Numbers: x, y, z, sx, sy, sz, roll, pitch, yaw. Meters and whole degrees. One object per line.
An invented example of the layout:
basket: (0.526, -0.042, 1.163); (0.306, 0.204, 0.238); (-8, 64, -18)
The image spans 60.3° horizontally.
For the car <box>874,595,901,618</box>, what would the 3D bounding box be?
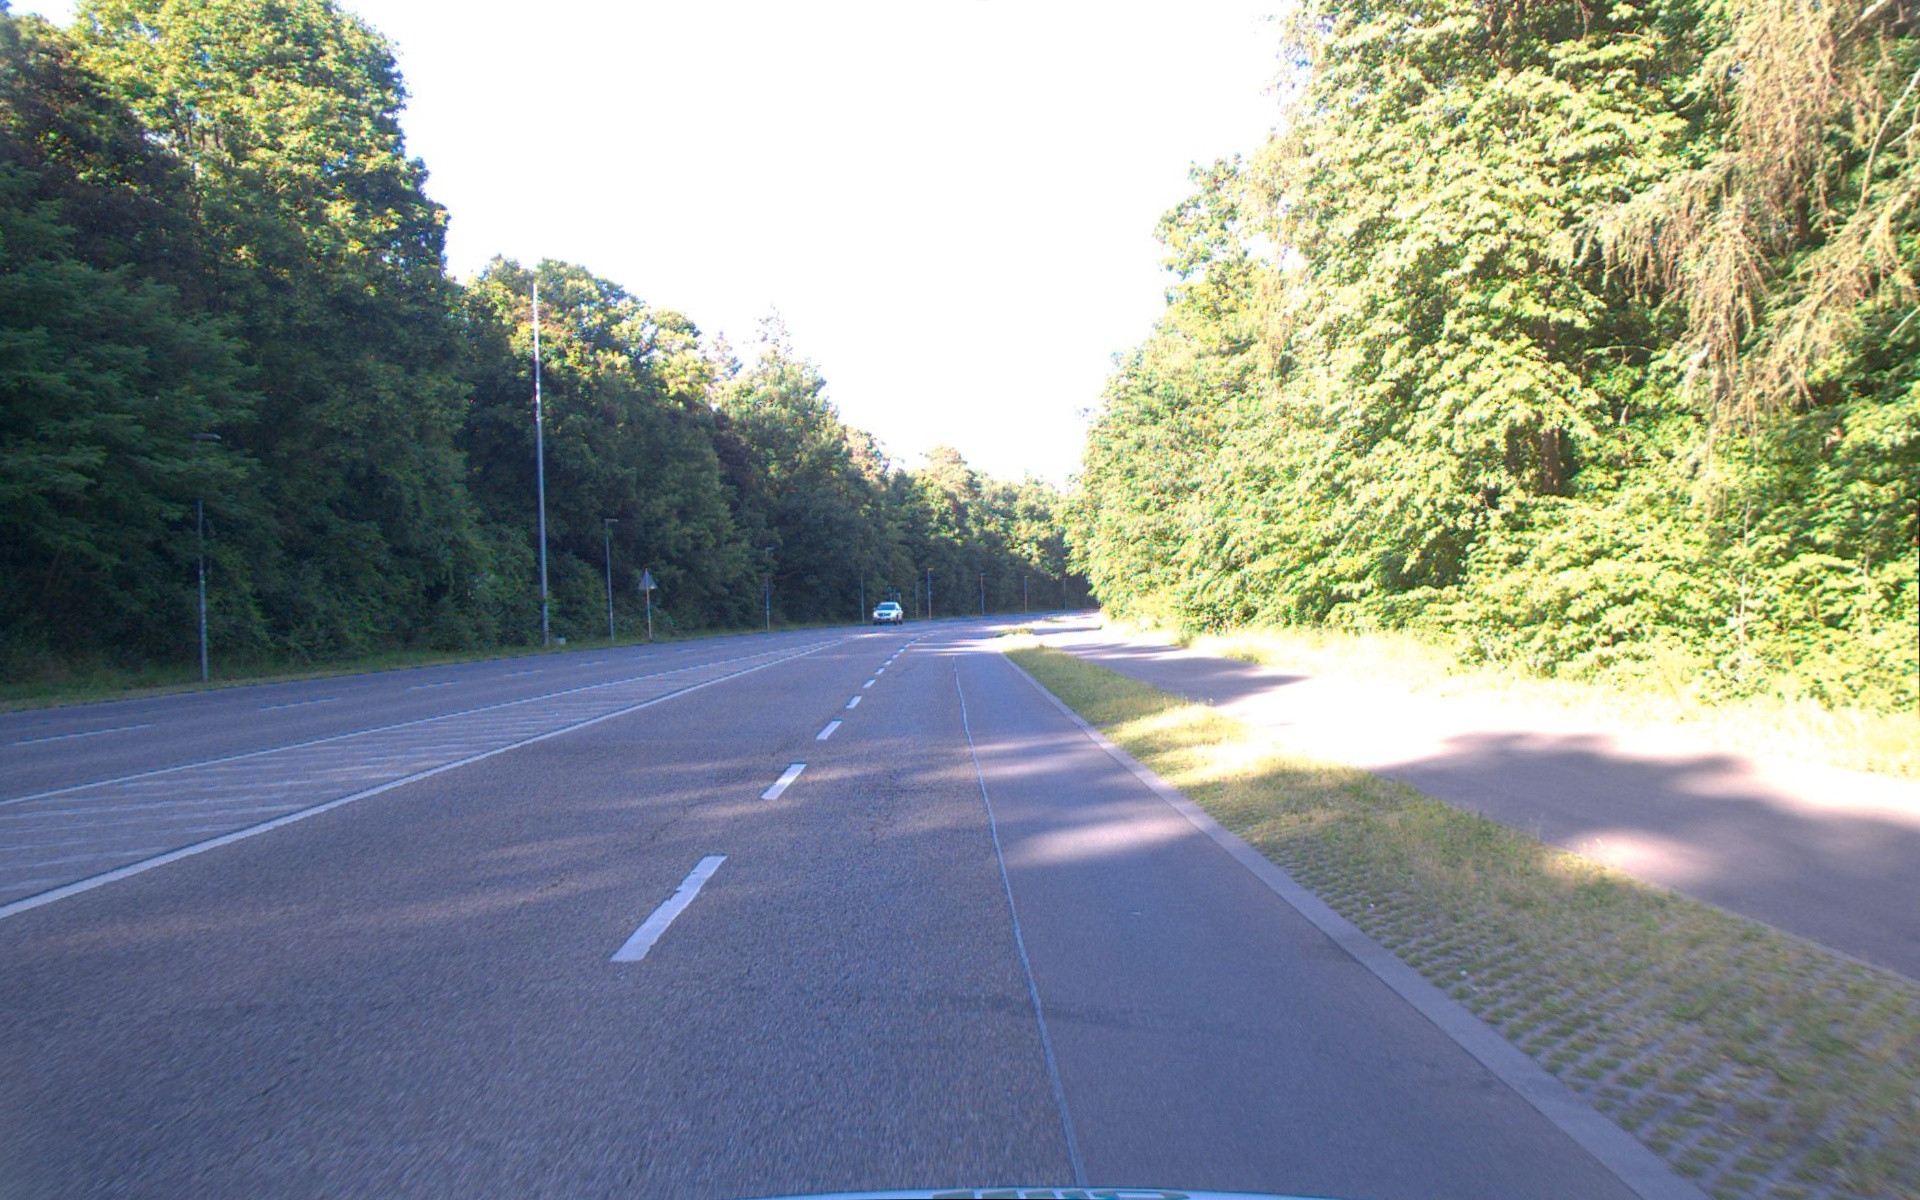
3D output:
car: (-5.494, 0.496, 125.154); (1.869, 1.693, 4.733); (-1, 0, -1)
